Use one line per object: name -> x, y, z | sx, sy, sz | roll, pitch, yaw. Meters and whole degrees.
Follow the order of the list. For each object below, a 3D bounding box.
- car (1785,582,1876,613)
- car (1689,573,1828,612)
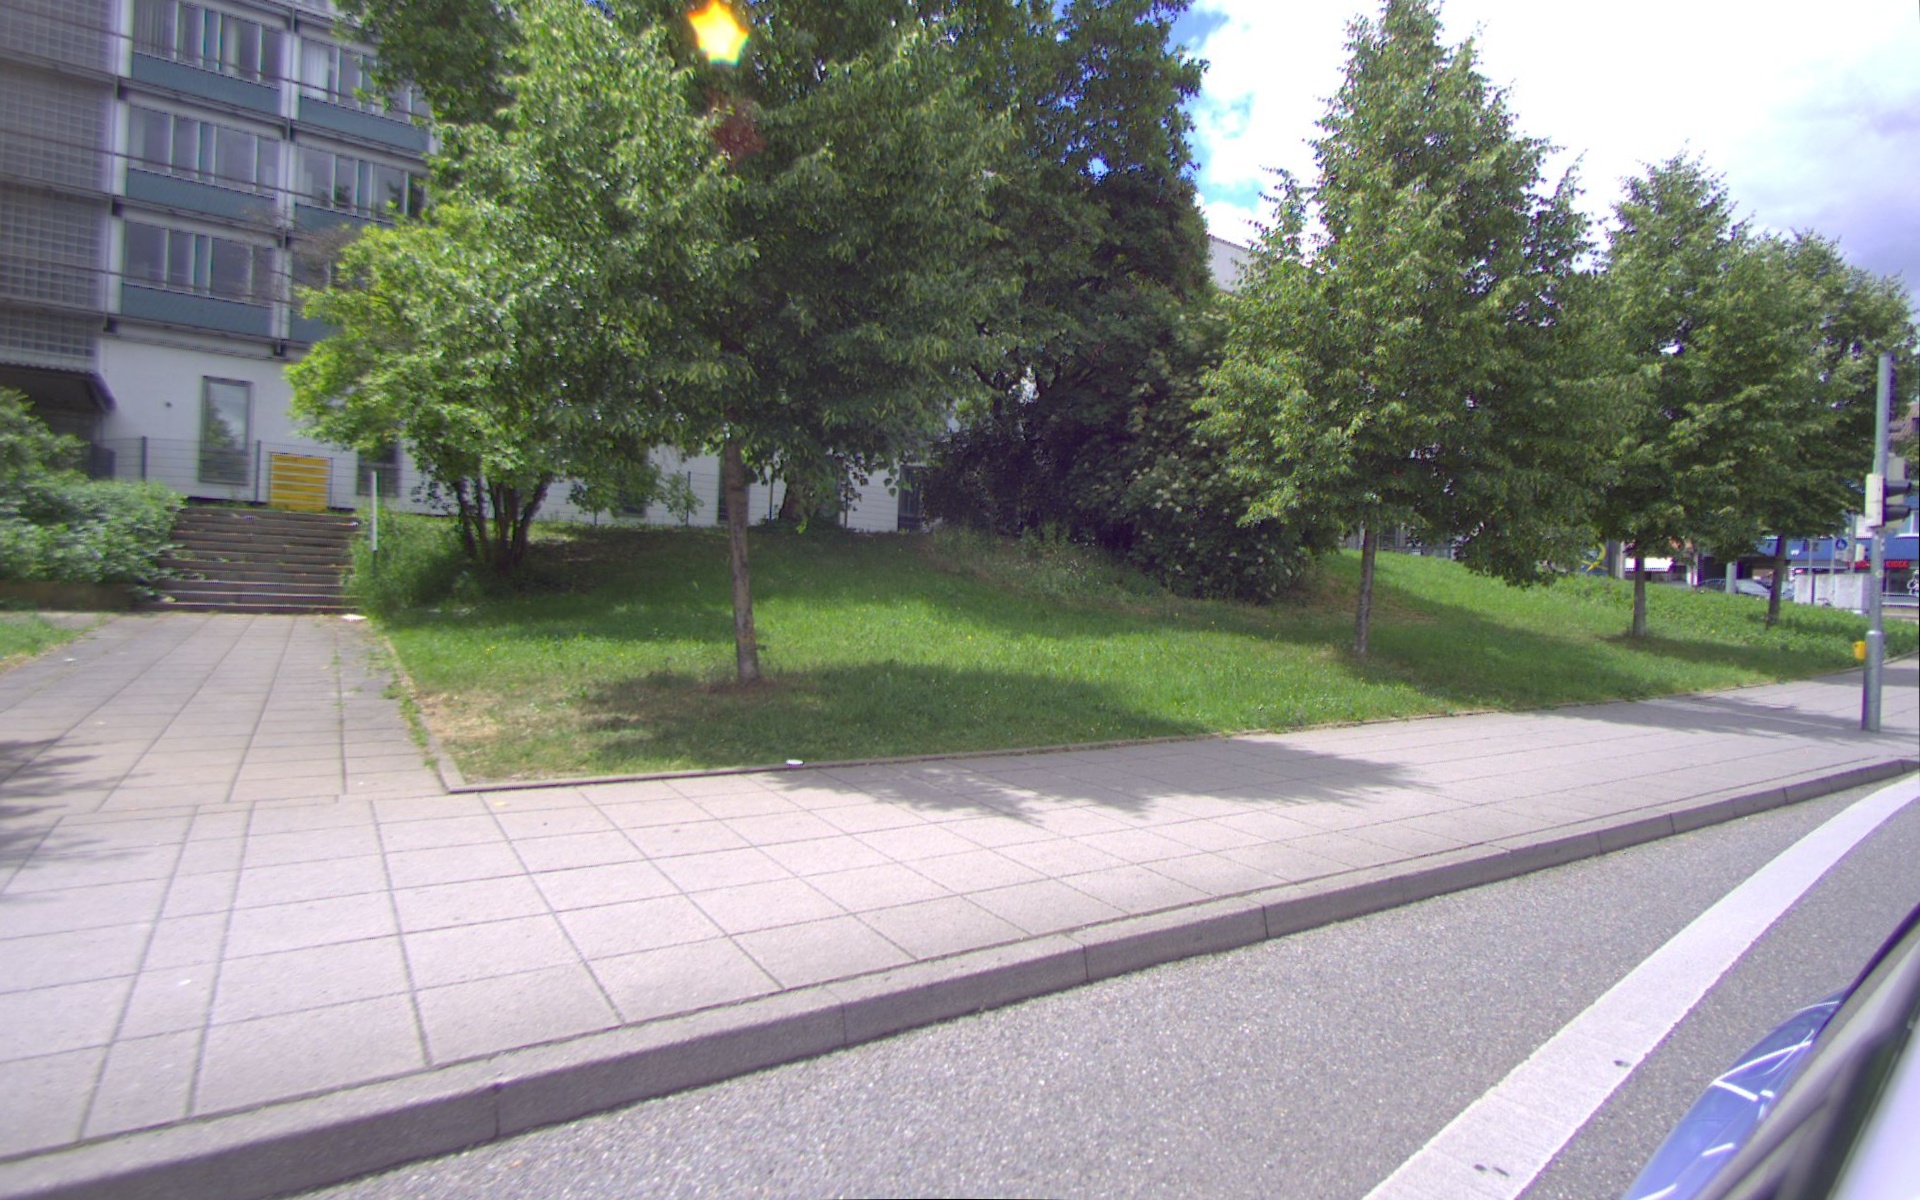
car -> 53.042, -0.161, 61.766 | 3.975, 1.551, 1.691 | 4, 1, 34
car -> 33.817, -0.355, 43.034 | 2.010, 1.483, 4.333 | 2, 2, -11
